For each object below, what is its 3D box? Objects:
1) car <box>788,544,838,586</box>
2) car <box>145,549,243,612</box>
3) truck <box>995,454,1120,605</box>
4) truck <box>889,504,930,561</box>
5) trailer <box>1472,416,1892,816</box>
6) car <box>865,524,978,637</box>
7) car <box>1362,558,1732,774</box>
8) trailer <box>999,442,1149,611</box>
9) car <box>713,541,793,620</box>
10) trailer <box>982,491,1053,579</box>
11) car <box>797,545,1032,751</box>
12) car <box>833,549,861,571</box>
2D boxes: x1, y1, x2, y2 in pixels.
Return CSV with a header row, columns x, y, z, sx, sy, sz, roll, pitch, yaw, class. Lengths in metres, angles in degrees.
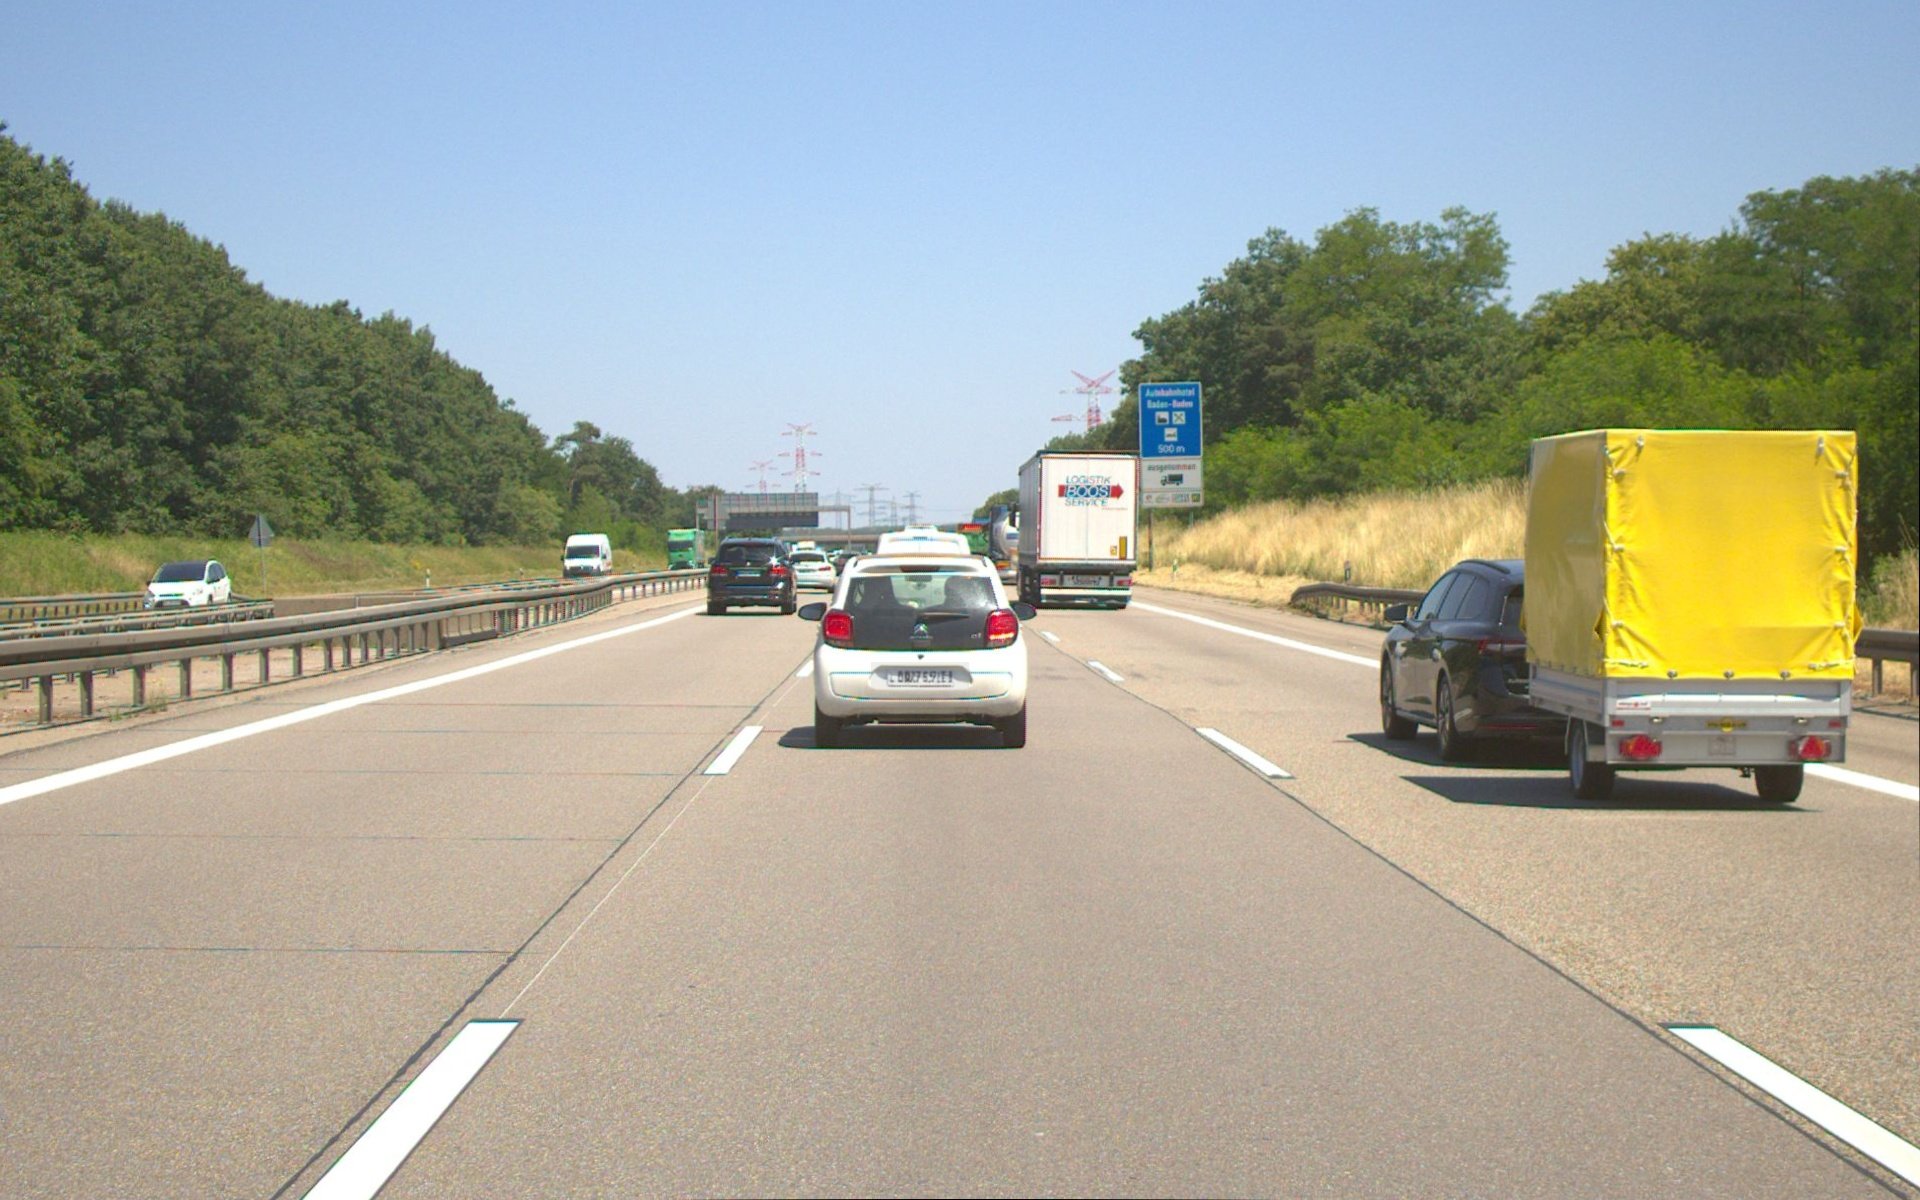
x,y,z,sx,sy,sz,roll,pitch,yaw,class
-5.025,-1.203,117.863,1.669,1.396,3.713,0,1,-2,car
-22.160,-0.584,99.619,1.702,1.655,5.117,-3,1,-1,car
2.809,-2.030,100.510,3.285,4.205,6.008,1,1,-1,truck
-2.634,-3.476,177.844,2.060,2.904,7.004,0,1,-1,truck
4.444,0.067,21.722,1.703,2.282,3.840,1,1,-2,trailer
-0.677,-0.345,57.995,1.814,1.821,5.111,0,1,-1,car
4.310,0.427,26.001,1.821,1.451,4.789,1,1,-2,car
2.950,-1.920,93.740,3.285,4.205,13.566,1,1,-1,trailer
-4.683,-0.461,78.213,1.626,1.749,3.805,1,1,-1,car
2.558,-2.903,156.472,2.682,3.824,12.011,1,1,-1,trailer
-0.362,0.323,27.239,1.708,1.490,4.024,1,1,-1,car
-6.728,-2.392,204.575,1.607,1.296,3.674,1,1,-1,car
